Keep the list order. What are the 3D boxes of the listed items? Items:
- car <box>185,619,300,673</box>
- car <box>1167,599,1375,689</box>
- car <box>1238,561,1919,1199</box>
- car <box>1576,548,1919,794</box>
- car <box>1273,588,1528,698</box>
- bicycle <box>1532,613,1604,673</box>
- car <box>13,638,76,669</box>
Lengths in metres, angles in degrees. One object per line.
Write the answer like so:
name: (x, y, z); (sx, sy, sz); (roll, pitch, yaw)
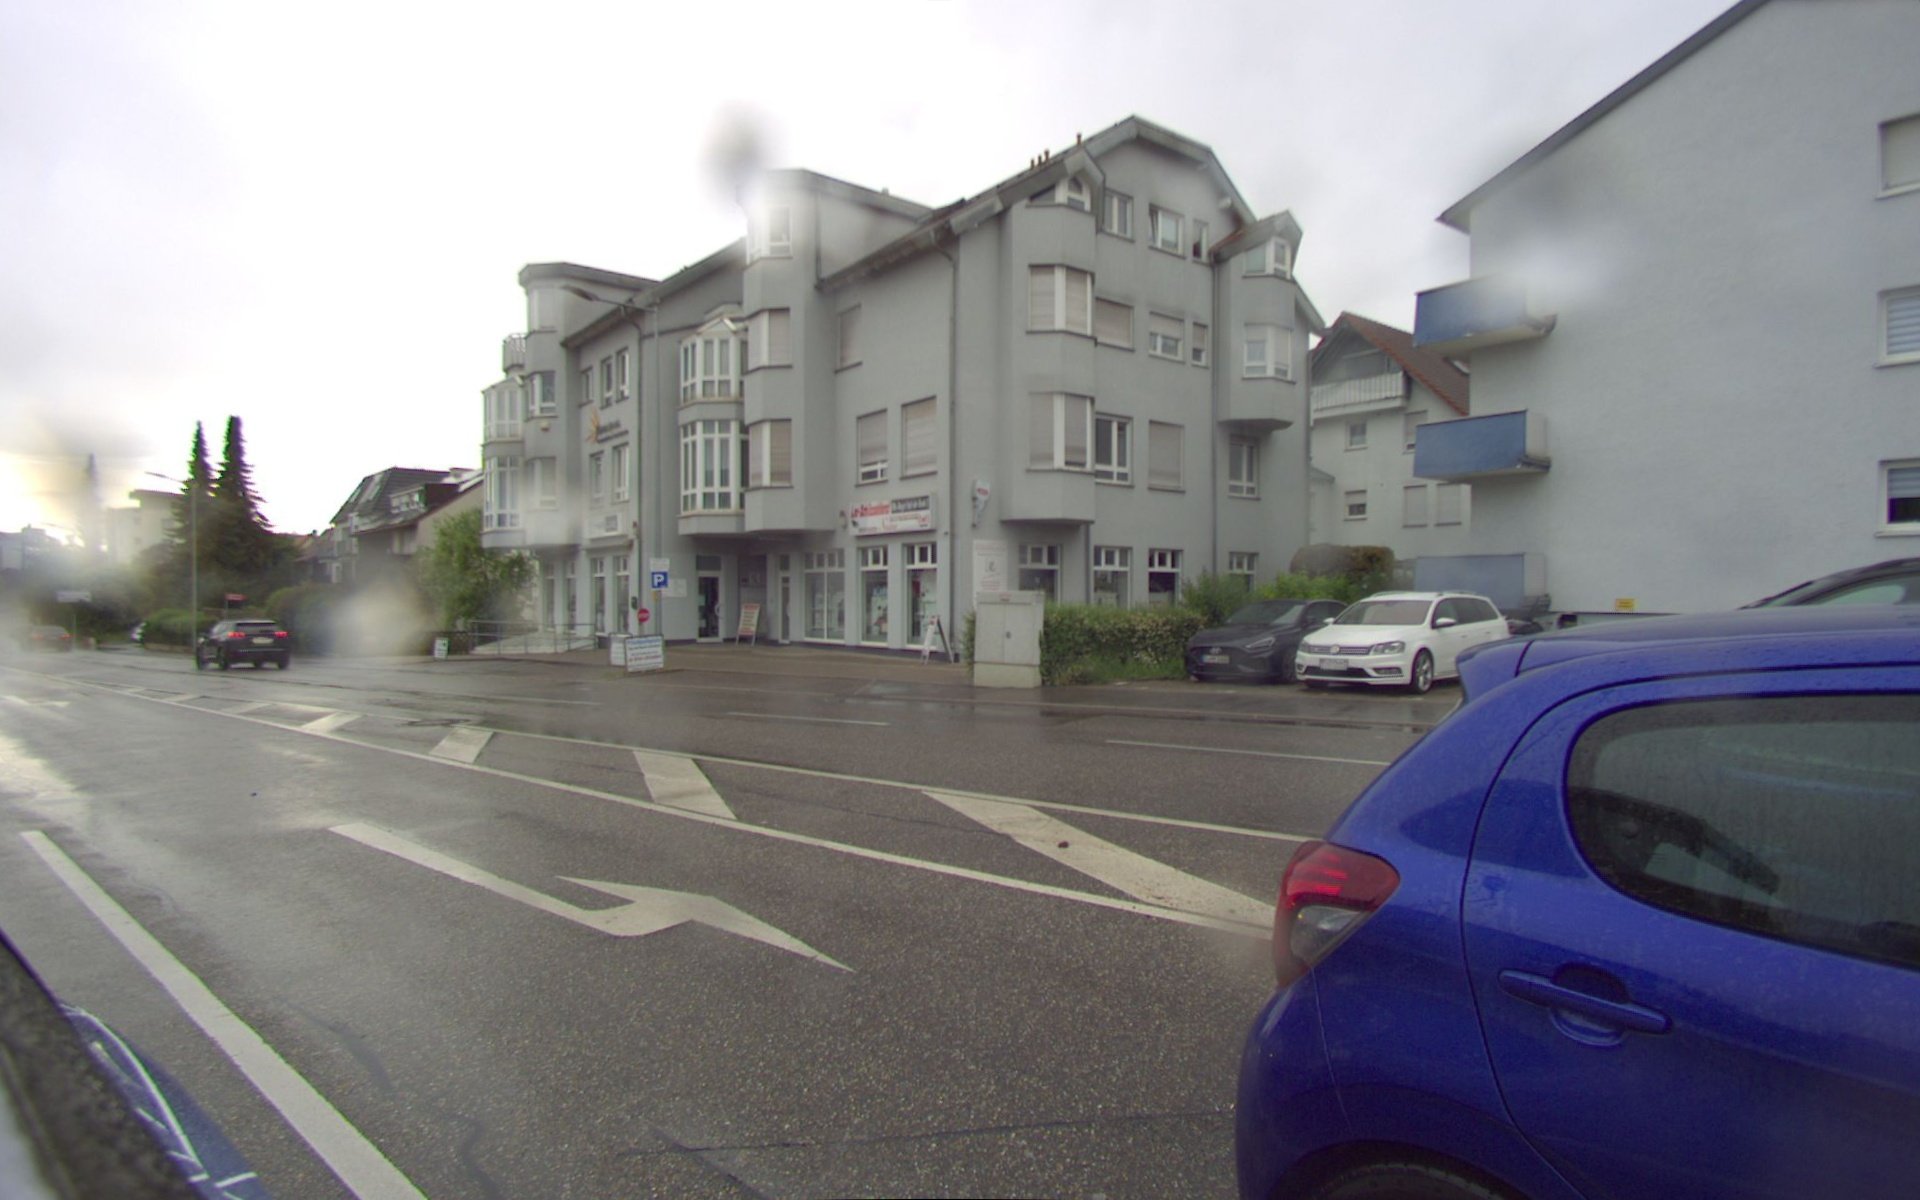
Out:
car: (-22.607, 1.400, 31.846); (3.995, 1.523, 1.948); (-1, 0, 39)
car: (5.500, 0.684, 17.656); (1.851, 1.366, 3.941); (-1, 0, 45)
car: (2.244, 0.637, 1.202); (3.362, 1.423, 1.489); (-2, -1, 41)
car: (6.984, 0.470, 7.274); (4.178, 1.609, 1.861); (-2, -2, 38)
car: (6.989, 0.599, 15.811); (4.685, 1.471, 1.883); (0, -2, -42)
bicycle: (11.150, 0.785, 18.568); (1.065, 1.061, 0.343); (-2, -1, 41)
car: (-52.806, 3.042, 58.332); (4.533, 1.637, 1.974); (-2, 0, 39)
